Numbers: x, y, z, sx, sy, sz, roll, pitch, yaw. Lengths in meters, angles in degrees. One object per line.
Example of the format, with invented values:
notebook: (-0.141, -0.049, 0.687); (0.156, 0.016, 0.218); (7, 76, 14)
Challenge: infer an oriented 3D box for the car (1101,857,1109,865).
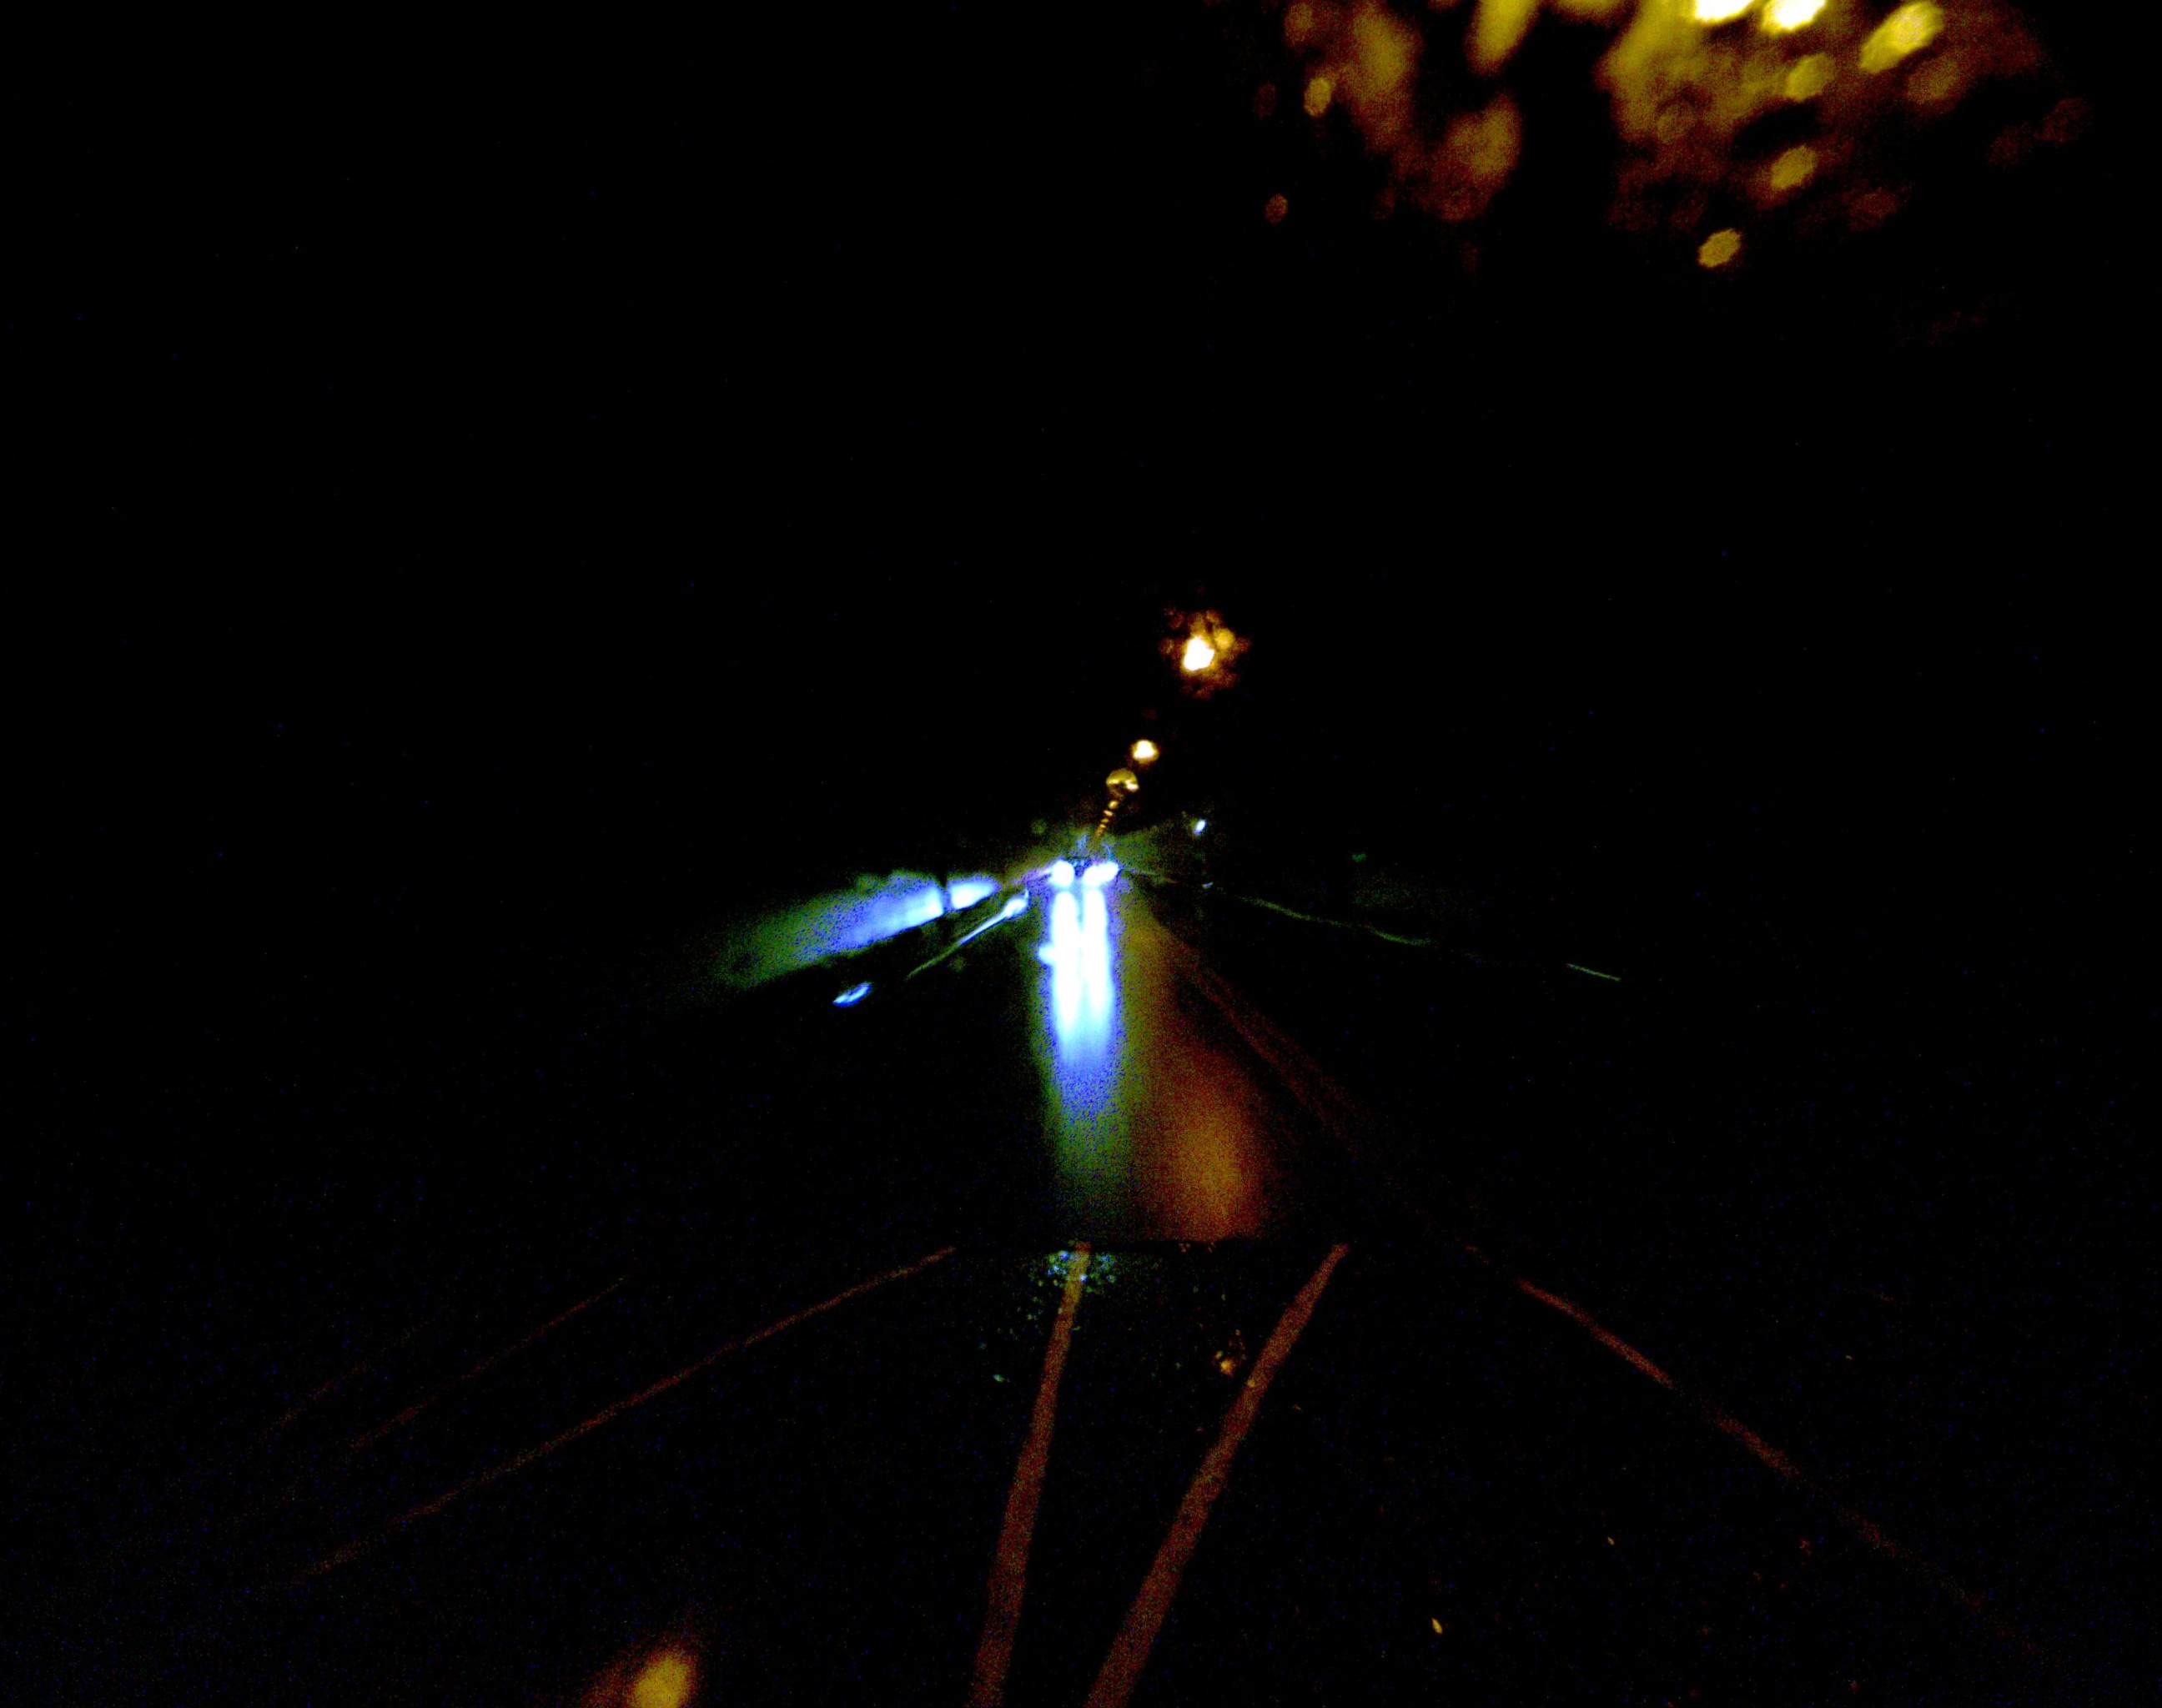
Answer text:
car: (4.959, 1.447, 156.474); (1.639, 1.526, 3.646); (-1, -1, 1)

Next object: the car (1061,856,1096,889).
car: (-0.083, 0.877, 37.040); (1.627, 1.487, 3.585); (-1, -1, 1)
